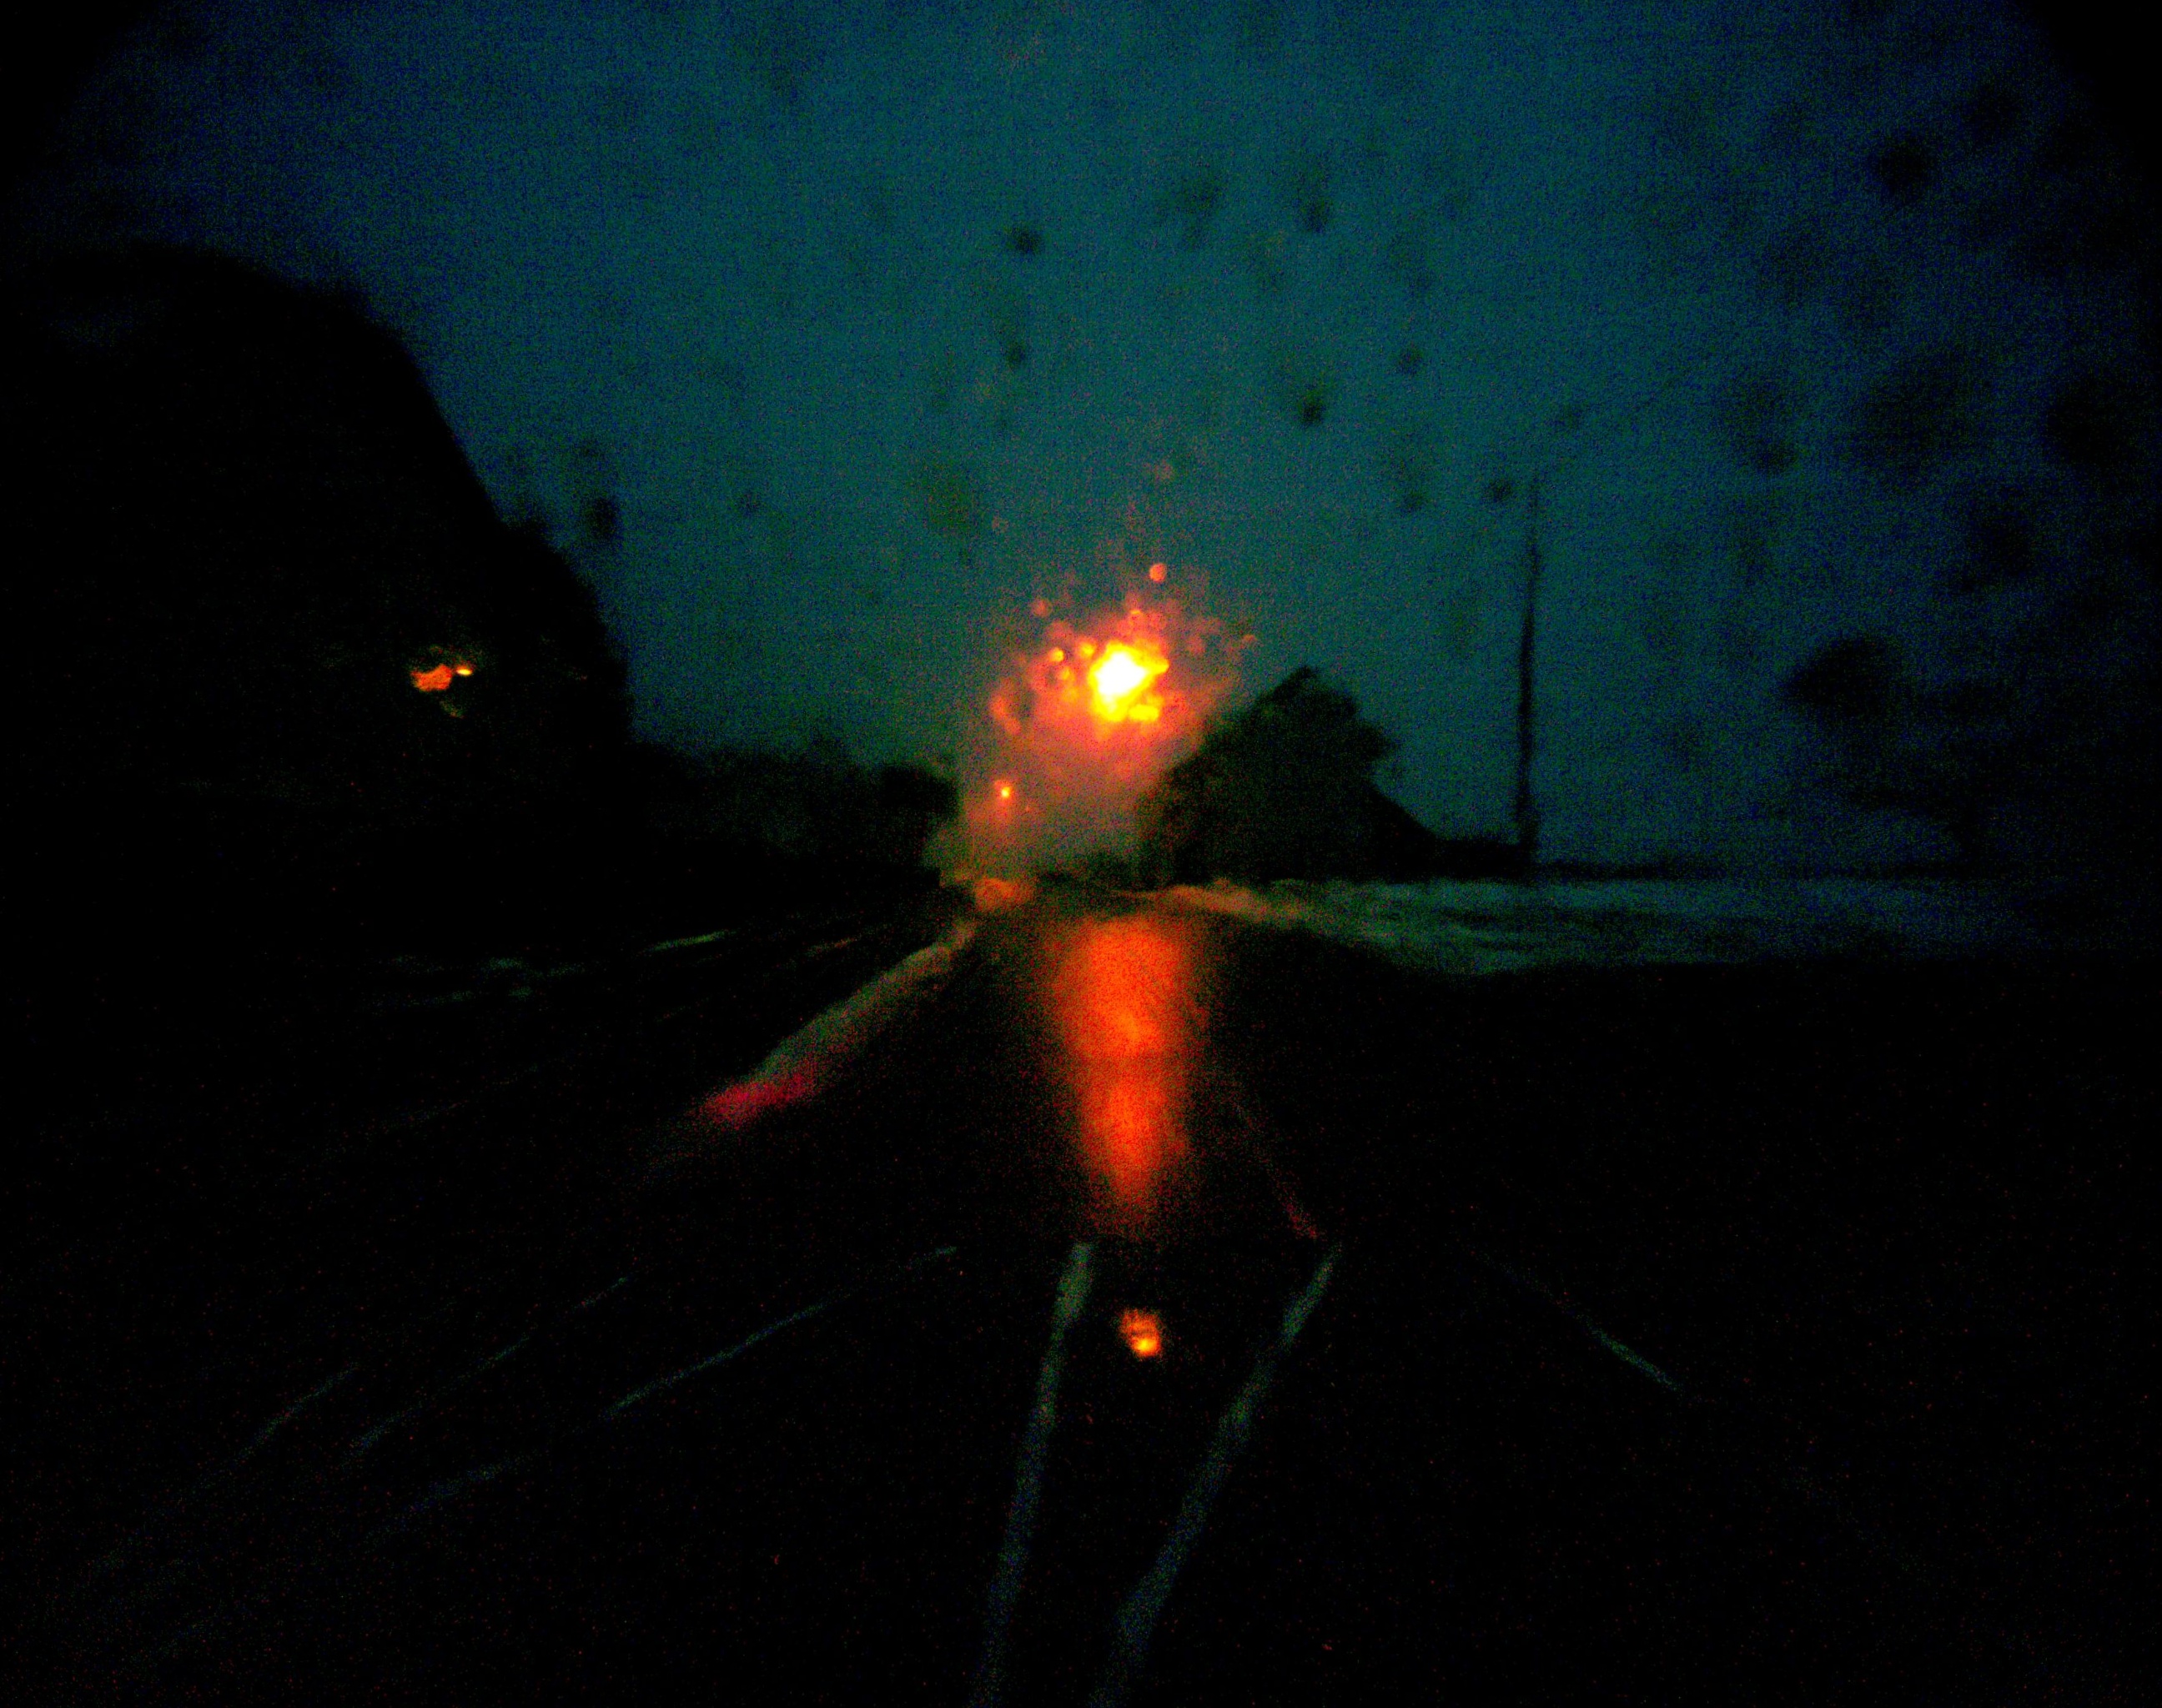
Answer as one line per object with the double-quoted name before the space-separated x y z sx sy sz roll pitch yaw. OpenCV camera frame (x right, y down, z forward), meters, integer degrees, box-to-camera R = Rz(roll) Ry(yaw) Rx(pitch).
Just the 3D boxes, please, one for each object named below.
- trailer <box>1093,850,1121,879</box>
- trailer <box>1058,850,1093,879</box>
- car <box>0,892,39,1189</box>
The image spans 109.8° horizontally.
"trailer" 2.361 1.040 70.745 1.999 2.473 4.010 3 -3 -5
"trailer" -0.550 0.974 71.748 1.698 2.589 3.437 4 -3 -33
"car" -7.268 0.924 2.923 3.998 1.444 1.715 -1 -3 -2
